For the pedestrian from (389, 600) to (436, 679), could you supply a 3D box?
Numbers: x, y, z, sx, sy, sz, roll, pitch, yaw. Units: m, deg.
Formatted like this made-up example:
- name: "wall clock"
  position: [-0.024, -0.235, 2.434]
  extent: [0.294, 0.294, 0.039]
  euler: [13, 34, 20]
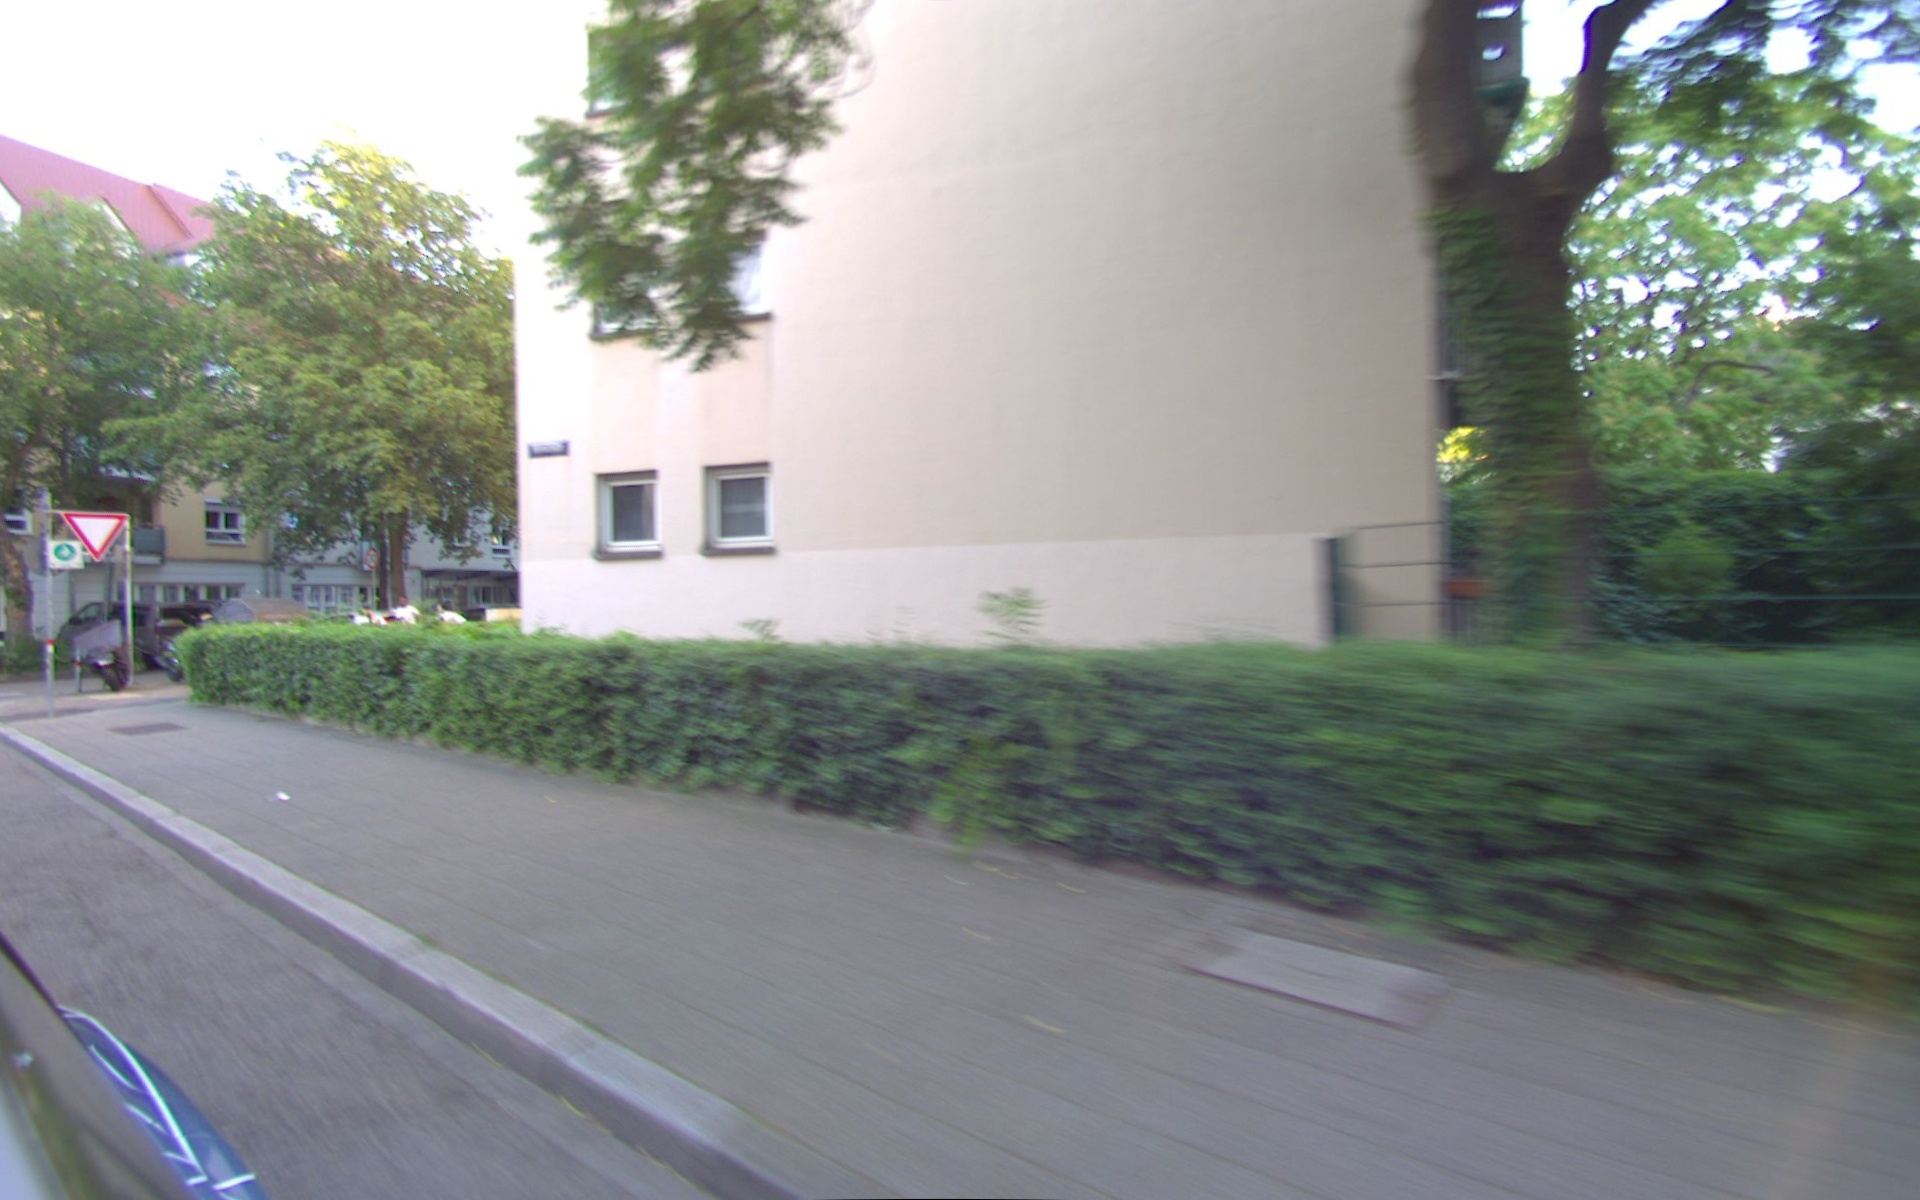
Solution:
- name: "pedestrian"
  position: [-12.746, 0.911, 23.564]
  extent: [0.694, 1.801, 0.660]
  euler: [-2, -1, 23]

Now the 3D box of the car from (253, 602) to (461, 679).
- name: "car"
  position: [-14.971, 0.997, 25.165]
  extent: [4.478, 1.593, 2.042]
  euler: [-4, -1, 20]

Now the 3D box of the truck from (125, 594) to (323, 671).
- name: "truck"
  position: [-24.190, 0.987, 33.272]
  extent: [5.976, 2.149, 2.247]
  euler: [2, 1, 19]

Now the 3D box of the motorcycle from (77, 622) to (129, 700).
- name: "motorcycle"
  position: [-16.499, 1.140, 19.480]
  extent: [0.712, 1.384, 2.228]
  euler: [-1, -1, -41]

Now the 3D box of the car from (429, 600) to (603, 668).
- name: "car"
  position: [-12.995, 0.999, 29.708]
  extent: [4.372, 1.697, 2.053]
  euler: [-4, -1, 17]

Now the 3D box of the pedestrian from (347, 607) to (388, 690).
- name: "pedestrian"
  position: [-13.277, 1.078, 22.694]
  extent: [0.686, 1.801, 0.531]
  euler: [-1, -1, -22]

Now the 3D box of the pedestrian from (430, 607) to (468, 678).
- name: "pedestrian"
  position: [-11.600, 0.951, 22.969]
  extent: [0.657, 1.583, 0.445]
  euler: [0, 1, 23]

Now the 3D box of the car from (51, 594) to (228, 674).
- name: "car"
  position: [-24.819, 0.959, 30.634]
  extent: [4.599, 2.149, 2.024]
  euler: [2, 1, 19]

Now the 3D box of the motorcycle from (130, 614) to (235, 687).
- name: "motorcycle"
  position: [-16.534, 1.074, 21.513]
  extent: [2.208, 1.505, 0.686]
  euler: [-2, -1, 21]

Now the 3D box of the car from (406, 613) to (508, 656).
- name: "car"
  position: [-21.026, 1.398, 42.330]
  extent: [3.644, 1.559, 1.771]
  euler: [2, 2, 17]
